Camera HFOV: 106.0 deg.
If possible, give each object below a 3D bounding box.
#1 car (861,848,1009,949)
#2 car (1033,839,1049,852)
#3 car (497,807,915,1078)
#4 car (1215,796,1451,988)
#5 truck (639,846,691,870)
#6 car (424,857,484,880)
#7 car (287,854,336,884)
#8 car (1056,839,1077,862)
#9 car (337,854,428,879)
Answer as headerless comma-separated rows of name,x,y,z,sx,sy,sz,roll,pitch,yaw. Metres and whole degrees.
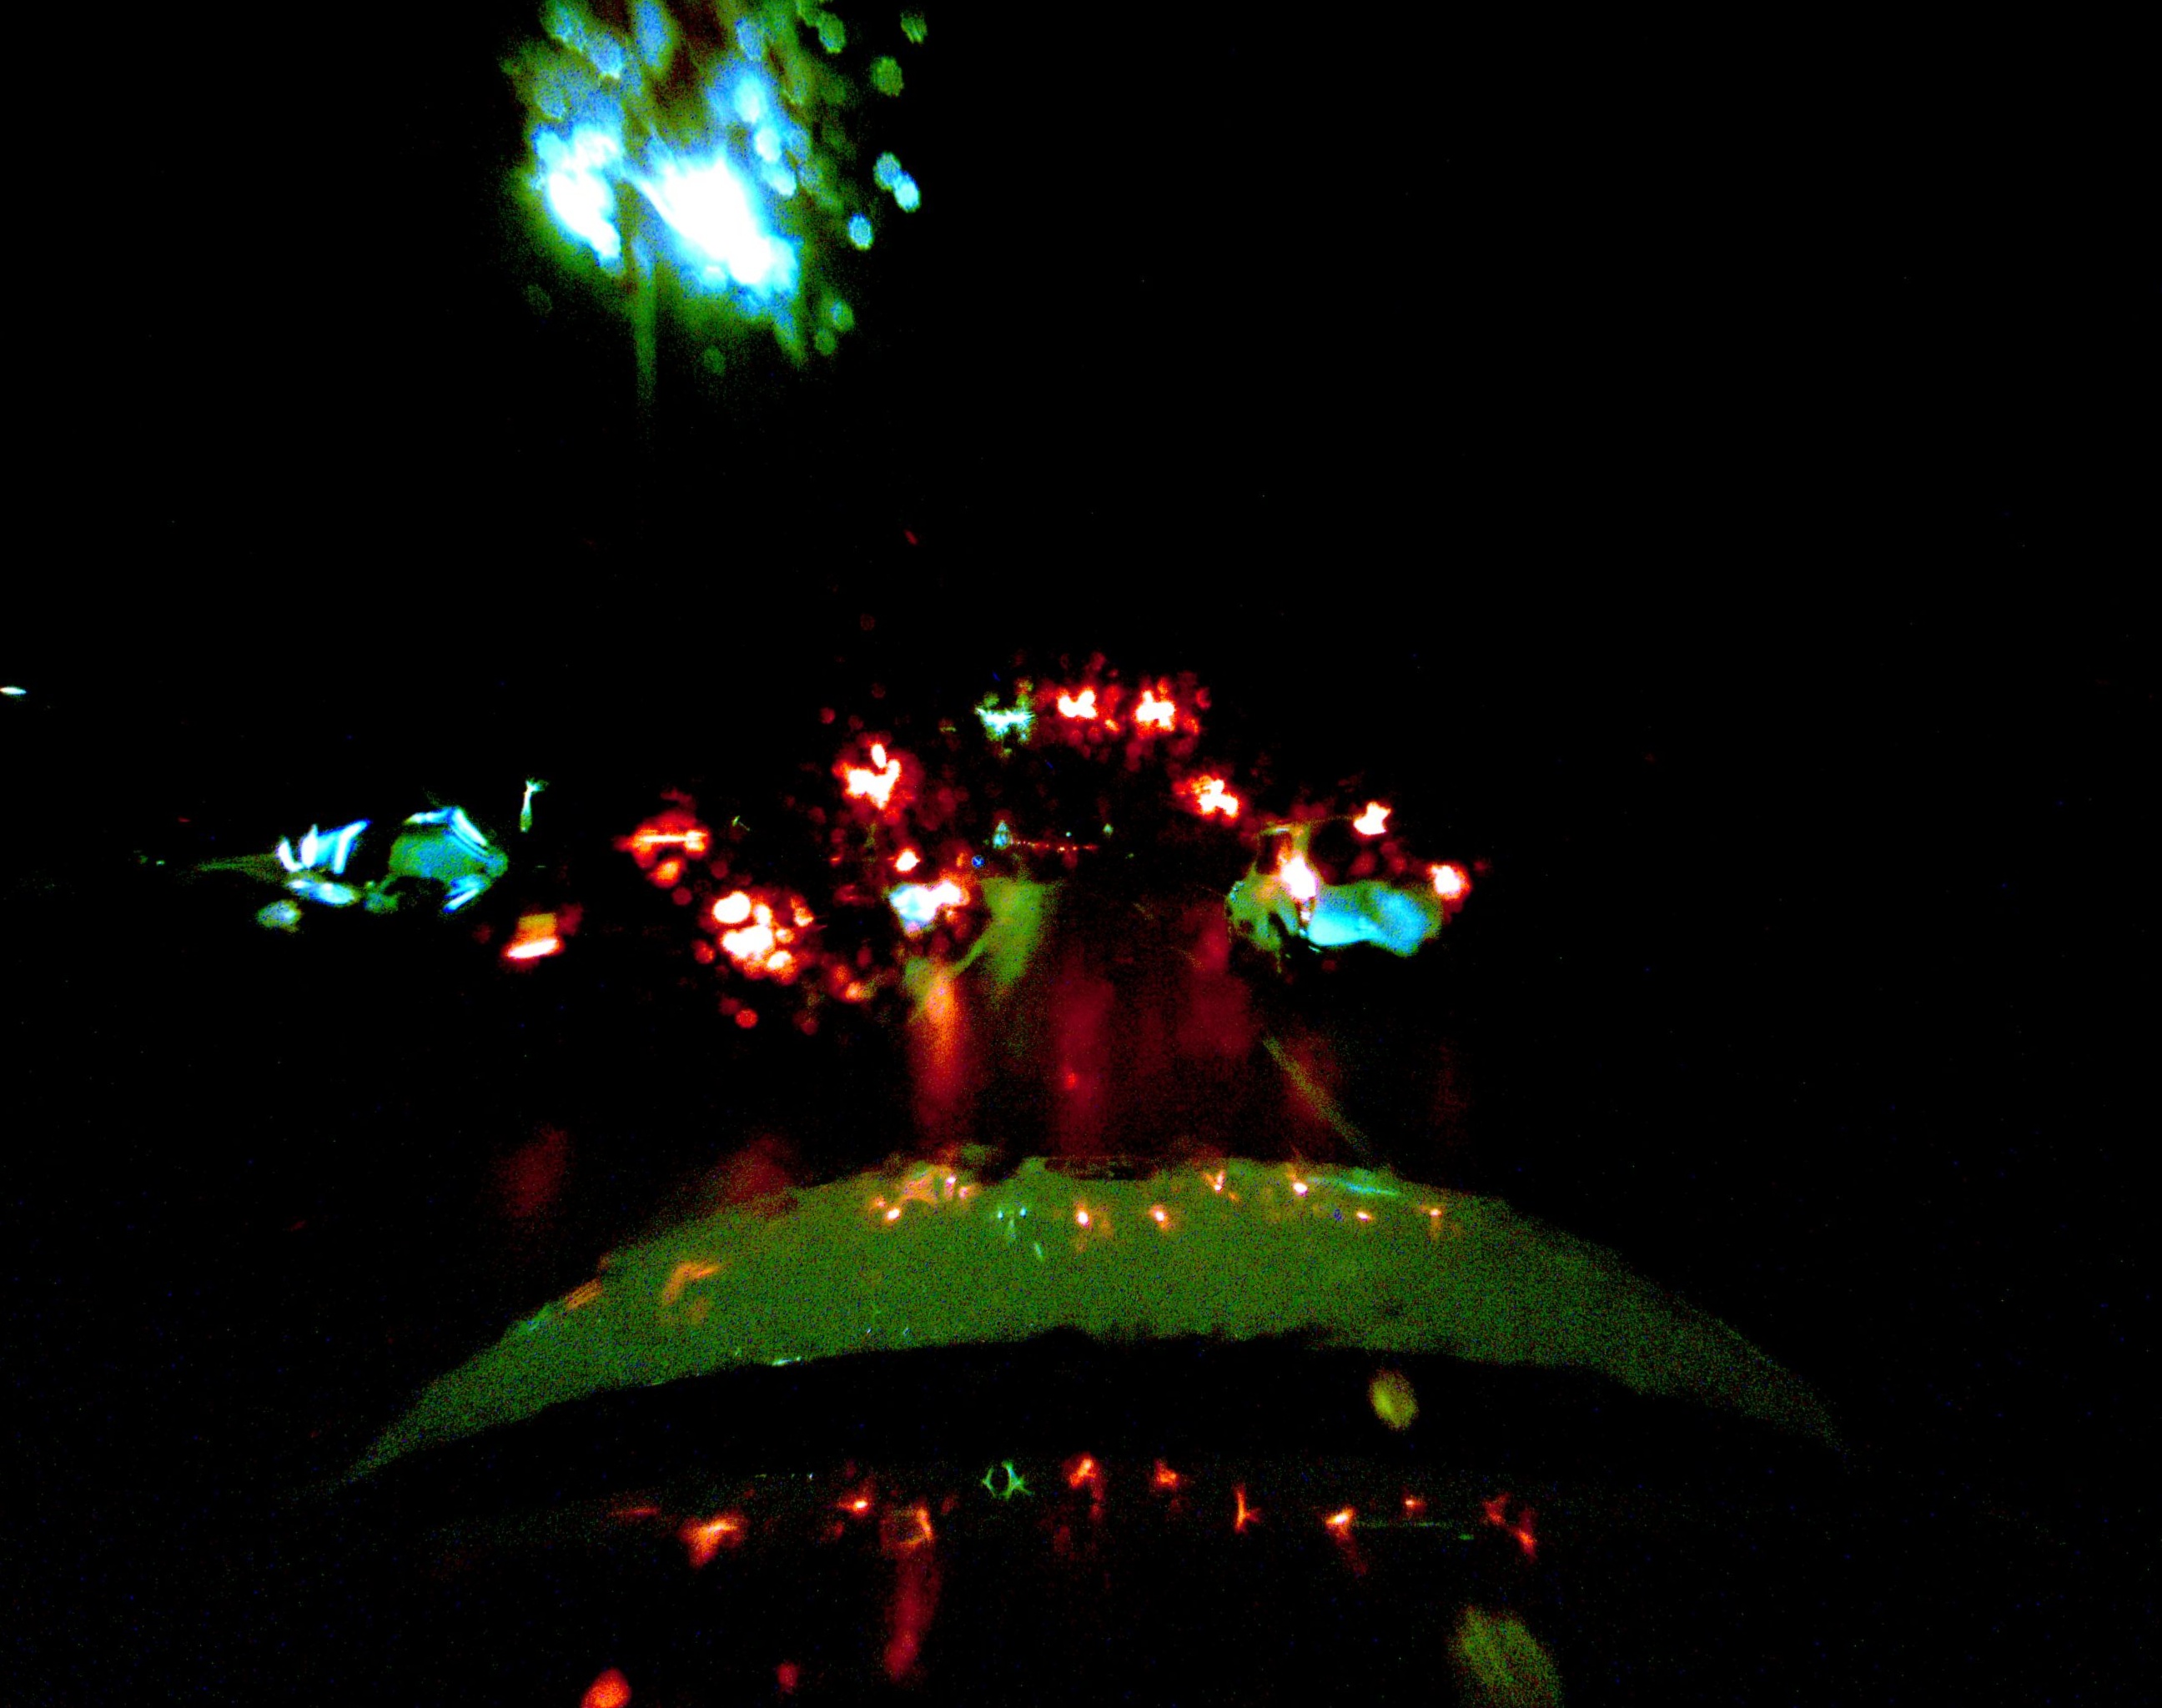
car,-2.454,0.674,14.821,1.777,1.511,4.436,-2,0,1
car,-6.161,-1.301,125.499,1.984,1.717,4.004,3,-1,4
car,-2.955,0.577,7.657,1.777,1.782,4.437,-1,0,1
car,3.022,0.398,10.844,1.785,2.022,4.580,0,0,1
truck,-41.112,0.384,80.706,1.986,2.271,6.022,0,0,1
car,-44.034,0.976,57.274,1.722,1.519,3.984,0,0,-12
car,-41.867,0.778,44.376,1.523,1.518,4.324,1,-1,-38
car,-1.374,-0.361,74.424,1.787,2.022,4.574,-1,0,-3
car,-43.258,0.739,50.542,1.709,1.519,4.015,0,0,13
